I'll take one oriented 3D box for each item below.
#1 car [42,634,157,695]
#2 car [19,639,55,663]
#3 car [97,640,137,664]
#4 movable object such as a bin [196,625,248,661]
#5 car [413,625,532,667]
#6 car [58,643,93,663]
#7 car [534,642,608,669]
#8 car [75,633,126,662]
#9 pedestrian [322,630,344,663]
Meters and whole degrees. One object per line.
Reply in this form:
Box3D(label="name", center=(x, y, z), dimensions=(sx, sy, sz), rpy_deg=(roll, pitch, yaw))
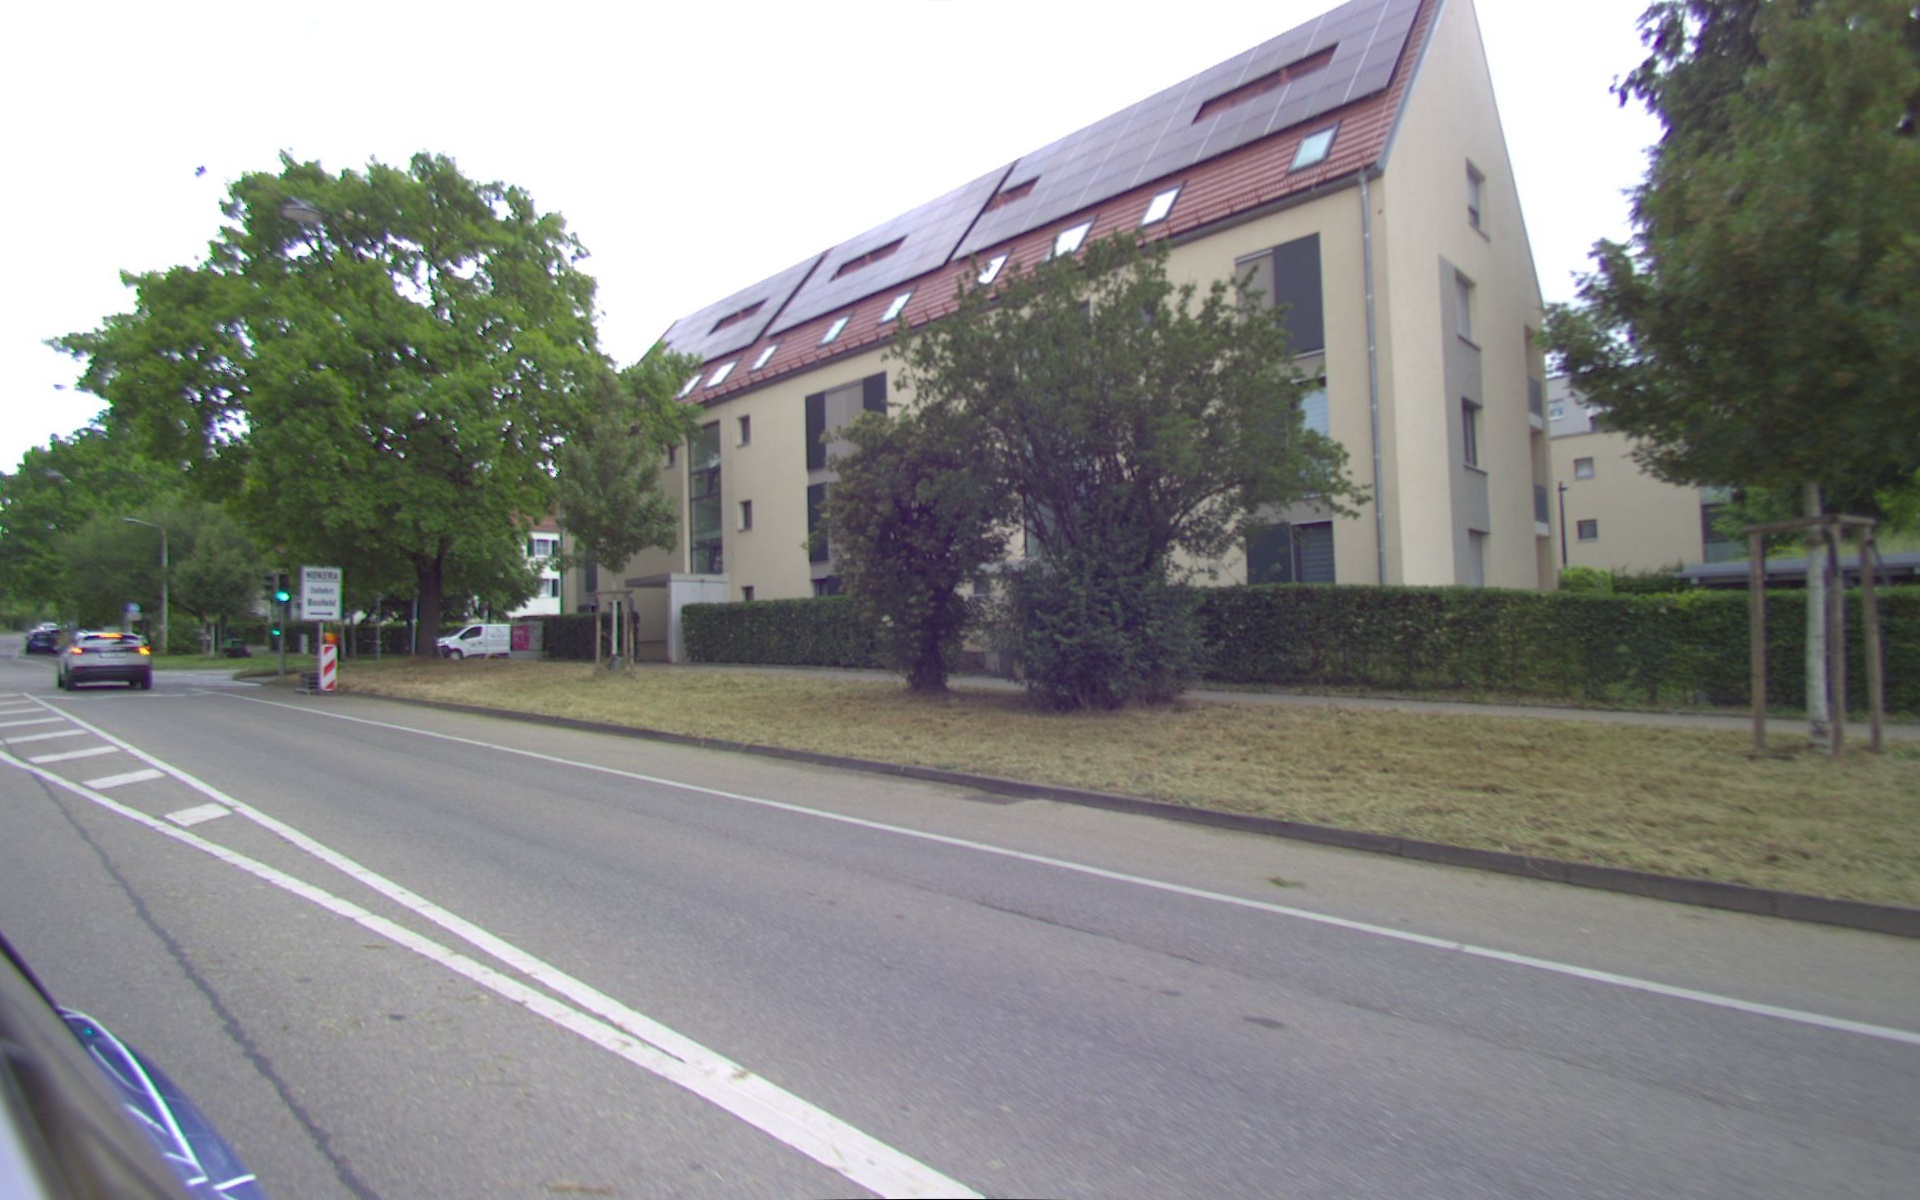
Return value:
Box3D(label="car", center=(-22.663, 1.645, 26.598), dimensions=(4.029, 1.475, 1.782), rpy_deg=(-2, -3, 43))
Box3D(label="car", center=(-71.335, 3.927, 78.287), dimensions=(1.969, 1.697, 4.005), rpy_deg=(0, -2, -41))
Box3D(label="car", center=(-61.330, 3.730, 73.624), dimensions=(4.002, 1.618, 1.835), rpy_deg=(-2, -1, 45))
Box3D(label="movable object such as a bin", center=(-40.273, 2.330, 55.217), dimensions=(3.236, 1.918, 1.088), rpy_deg=(-2, -1, 29))
Box3D(label="car", center=(-24.684, 2.278, 51.398), dimensions=(2.000, 1.932, 5.083), rpy_deg=(-2, -2, 43))
Box3D(label="car", center=(-62.979, 3.763, 72.060), dimensions=(4.002, 1.364, 1.582), rpy_deg=(-2, -2, 45))
Box3D(label="car", center=(-21.255, 3.001, 55.347), dimensions=(1.539, 1.323, 3.488), rpy_deg=(-2, -2, 44))
Box3D(label="car", center=(-53.788, 2.929, 63.301), dimensions=(4.547, 1.689, 1.971), rpy_deg=(-2, -2, 44))
Box3D(label="pedestrian", center=(-34.399, 2.544, 55.495), dimensions=(0.683, 1.770, 0.774), rpy_deg=(-1, -1, 11))
